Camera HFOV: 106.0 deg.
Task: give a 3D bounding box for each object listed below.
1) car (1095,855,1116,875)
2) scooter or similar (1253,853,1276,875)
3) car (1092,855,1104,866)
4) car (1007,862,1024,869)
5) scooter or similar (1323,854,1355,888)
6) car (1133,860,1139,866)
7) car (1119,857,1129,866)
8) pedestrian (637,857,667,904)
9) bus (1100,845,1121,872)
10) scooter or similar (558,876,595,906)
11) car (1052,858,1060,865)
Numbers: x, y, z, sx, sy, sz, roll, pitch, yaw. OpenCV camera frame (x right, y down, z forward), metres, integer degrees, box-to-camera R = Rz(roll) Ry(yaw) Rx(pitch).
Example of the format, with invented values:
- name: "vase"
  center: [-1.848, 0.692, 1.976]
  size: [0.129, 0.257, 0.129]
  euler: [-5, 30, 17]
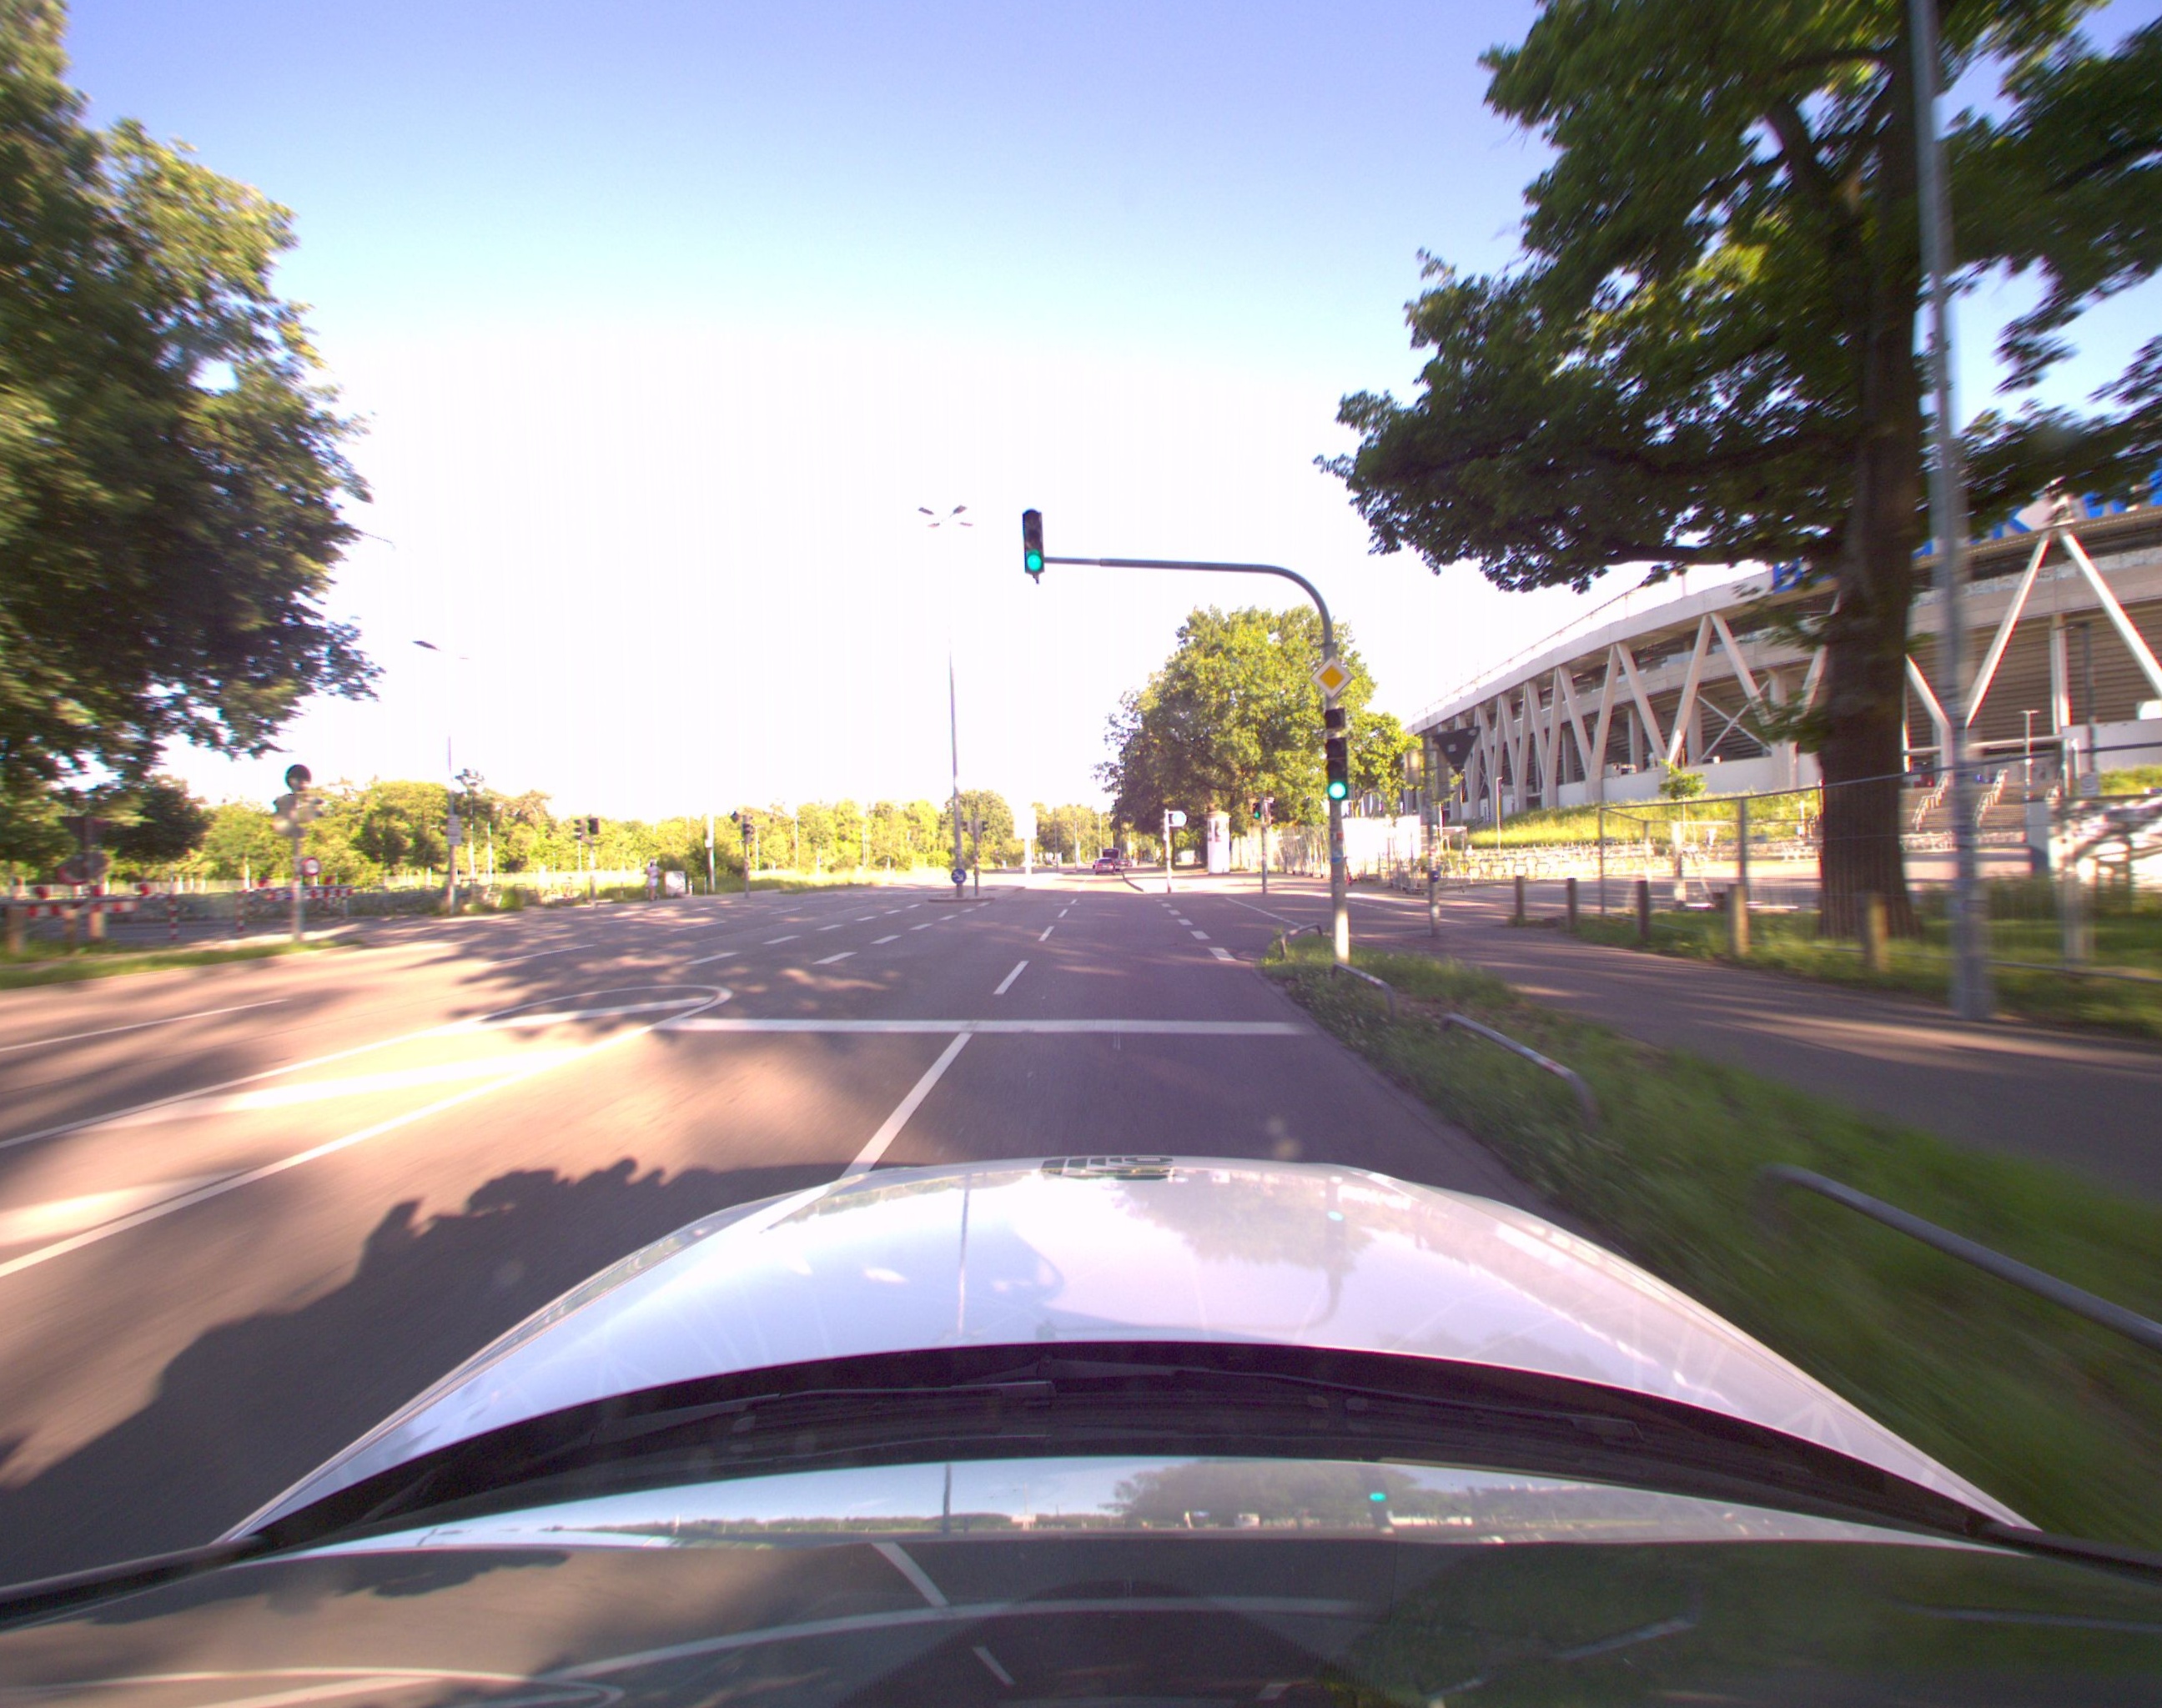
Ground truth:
- name: "car"
  center: [2.334, 1.022, 78.665]
  size: [1.873, 1.765, 4.001]
  euler: [-2, 0, 1]
- name: "scooter or similar"
  center: [10.719, 0.574, 47.556]
  size: [0.562, 1.256, 1.610]
  euler: [-2, -1, 40]
- name: "car"
  center: [2.747, 1.050, 132.385]
  size: [1.873, 1.765, 4.001]
  euler: [-2, 0, 1]
- name: "car"
  center: [-15.689, 2.729, 195.870]
  size: [3.689, 1.354, 1.721]
  euler: [-2, 0, -31]
- name: "scooter or similar"
  center: [10.278, 0.661, 32.455]
  size: [1.369, 1.288, 0.596]
  euler: [-1, 1, -42]
- name: "car"
  center: [14.586, 2.279, 215.147]
  size: [1.586, 1.605, 3.586]
  euler: [0, -1, 3]
- name: "car"
  center: [8.756, 1.464, 164.914]
  size: [1.854, 1.684, 3.778]
  euler: [-2, 0, 5]
- name: "pedestrian"
  center: [-17.838, 1.085, 33.848]
  size: [0.610, 1.909, 1.106]
  euler: [-2, -1, 1]
- name: "bus"
  center: [3.867, 0.602, 107.418]
  size: [2.596, 3.368, 7.976]
  euler: [-1, 0, 1]
- name: "scooter or similar"
  center: [-21.554, 1.580, 34.819]
  size: [0.508, 1.224, 1.364]
  euler: [-2, -1, 15]
- name: "car"
  center: [-6.384, 2.018, 207.719]
  size: [1.856, 1.684, 3.773]
  euler: [-2, 0, 1]
